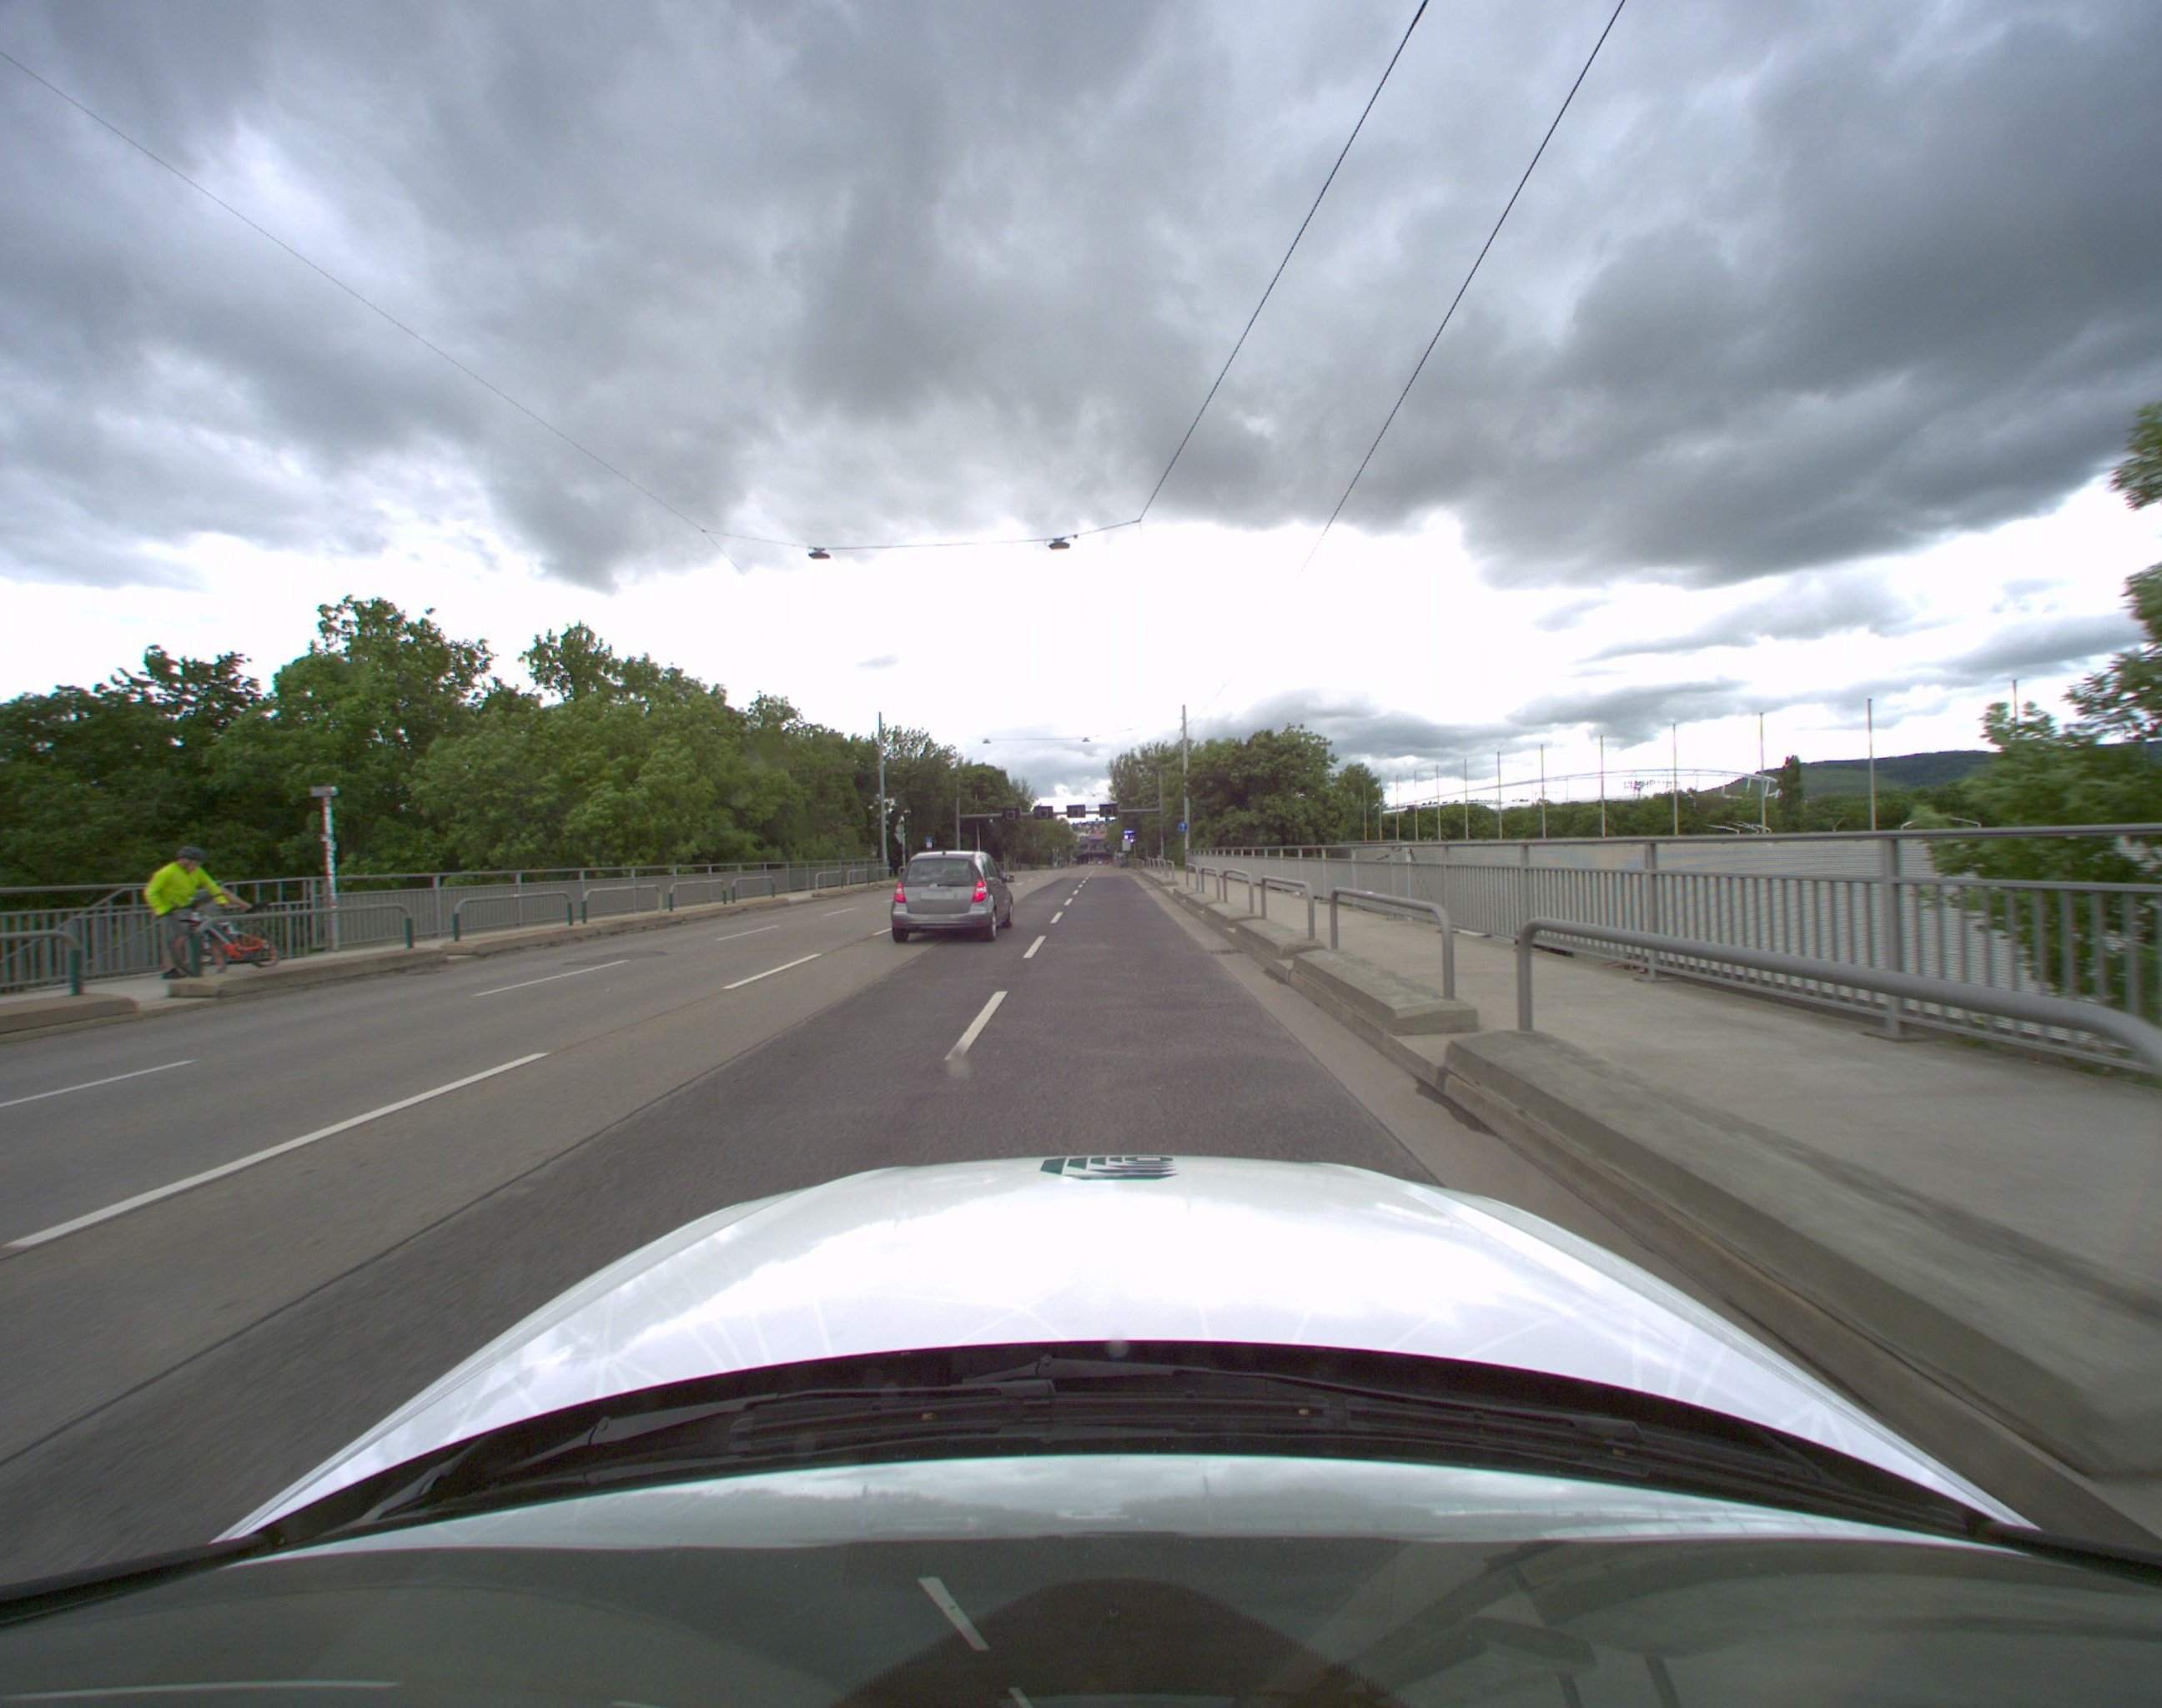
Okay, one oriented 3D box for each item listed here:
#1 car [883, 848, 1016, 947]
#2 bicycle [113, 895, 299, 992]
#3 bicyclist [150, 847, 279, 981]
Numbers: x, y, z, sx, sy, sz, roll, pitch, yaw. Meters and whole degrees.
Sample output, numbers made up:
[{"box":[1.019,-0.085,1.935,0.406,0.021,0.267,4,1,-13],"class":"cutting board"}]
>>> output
[{"box":[-2.313,0.695,15.265,1.739,1.550,3.872,-1,1,1],"class":"car"},{"box":[-12.227,1.184,11.528,0.923,1.051,2.774,-2,0,-28],"class":"bicycle"},{"box":[-12.275,0.808,11.592,0.908,1.764,1.125,-2,0,-29],"class":"bicyclist"}]
